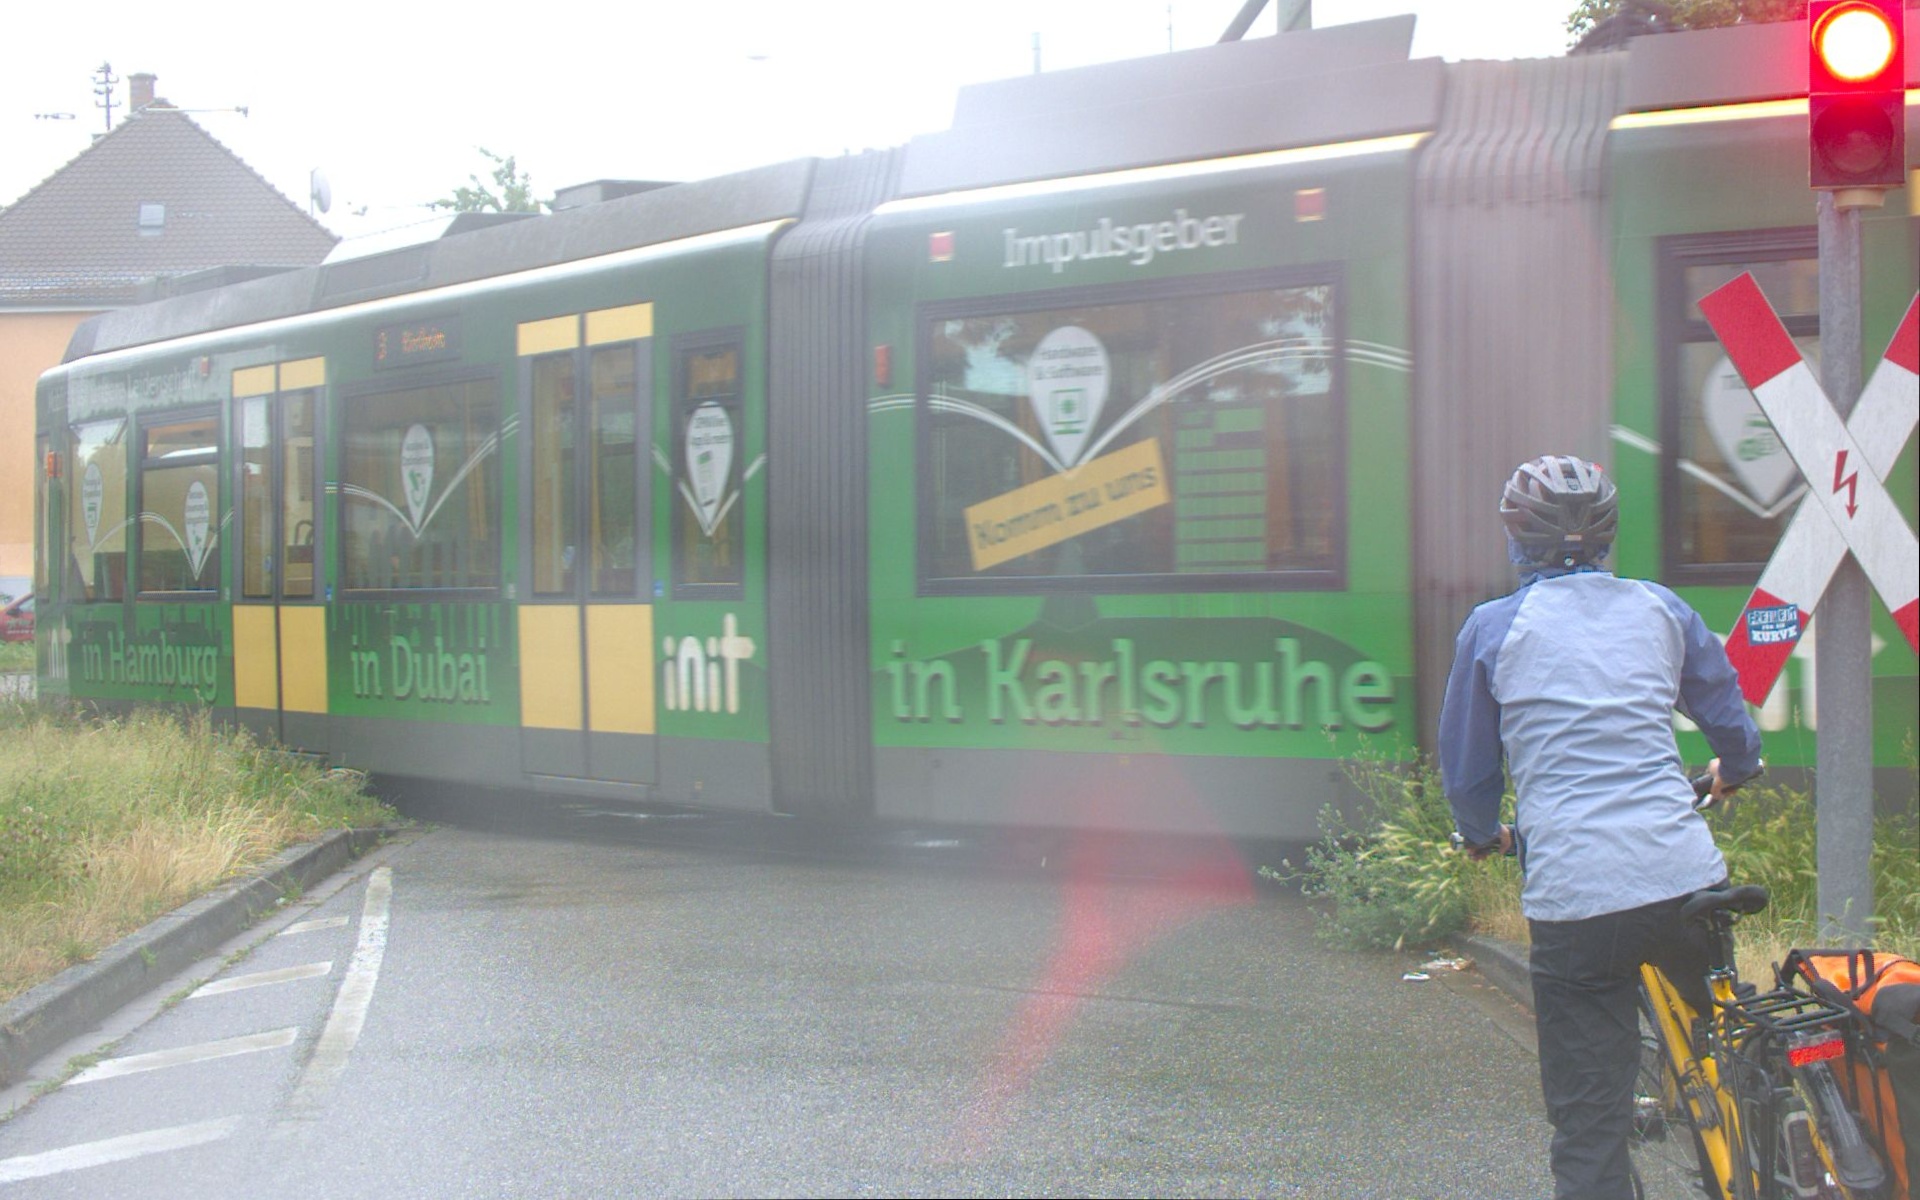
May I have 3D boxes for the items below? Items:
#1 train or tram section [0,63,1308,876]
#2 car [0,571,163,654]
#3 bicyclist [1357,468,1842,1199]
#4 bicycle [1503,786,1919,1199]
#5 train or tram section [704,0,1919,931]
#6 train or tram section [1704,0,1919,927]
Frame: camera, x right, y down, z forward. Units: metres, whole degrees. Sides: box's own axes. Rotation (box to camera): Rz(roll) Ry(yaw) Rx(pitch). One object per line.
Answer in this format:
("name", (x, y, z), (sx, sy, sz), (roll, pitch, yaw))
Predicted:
("train or tram section", (-2.923, -0.608, 21.335), (2.760, 3.541, 13.133), (-2, 1, -31))
("car", (-16.670, 0.211, 62.598), (3.986, 1.451, 1.834), (1, 0, -6))
("bicyclist", (1.113, 0.592, 6.149), (0.667, 1.620, 0.853), (1, 0, -2))
("bicycle", (1.346, 0.899, 6.073), (0.446, 1.001, 1.728), (-1, 1, -2))
("train or tram section", (1.673, -0.620, 14.782), (4.984, 3.541, 2.763), (-1, 1, 41))
("train or tram section", (8.675, -0.736, 10.514), (12.183, 3.541, 2.765), (-1, 1, 29))
